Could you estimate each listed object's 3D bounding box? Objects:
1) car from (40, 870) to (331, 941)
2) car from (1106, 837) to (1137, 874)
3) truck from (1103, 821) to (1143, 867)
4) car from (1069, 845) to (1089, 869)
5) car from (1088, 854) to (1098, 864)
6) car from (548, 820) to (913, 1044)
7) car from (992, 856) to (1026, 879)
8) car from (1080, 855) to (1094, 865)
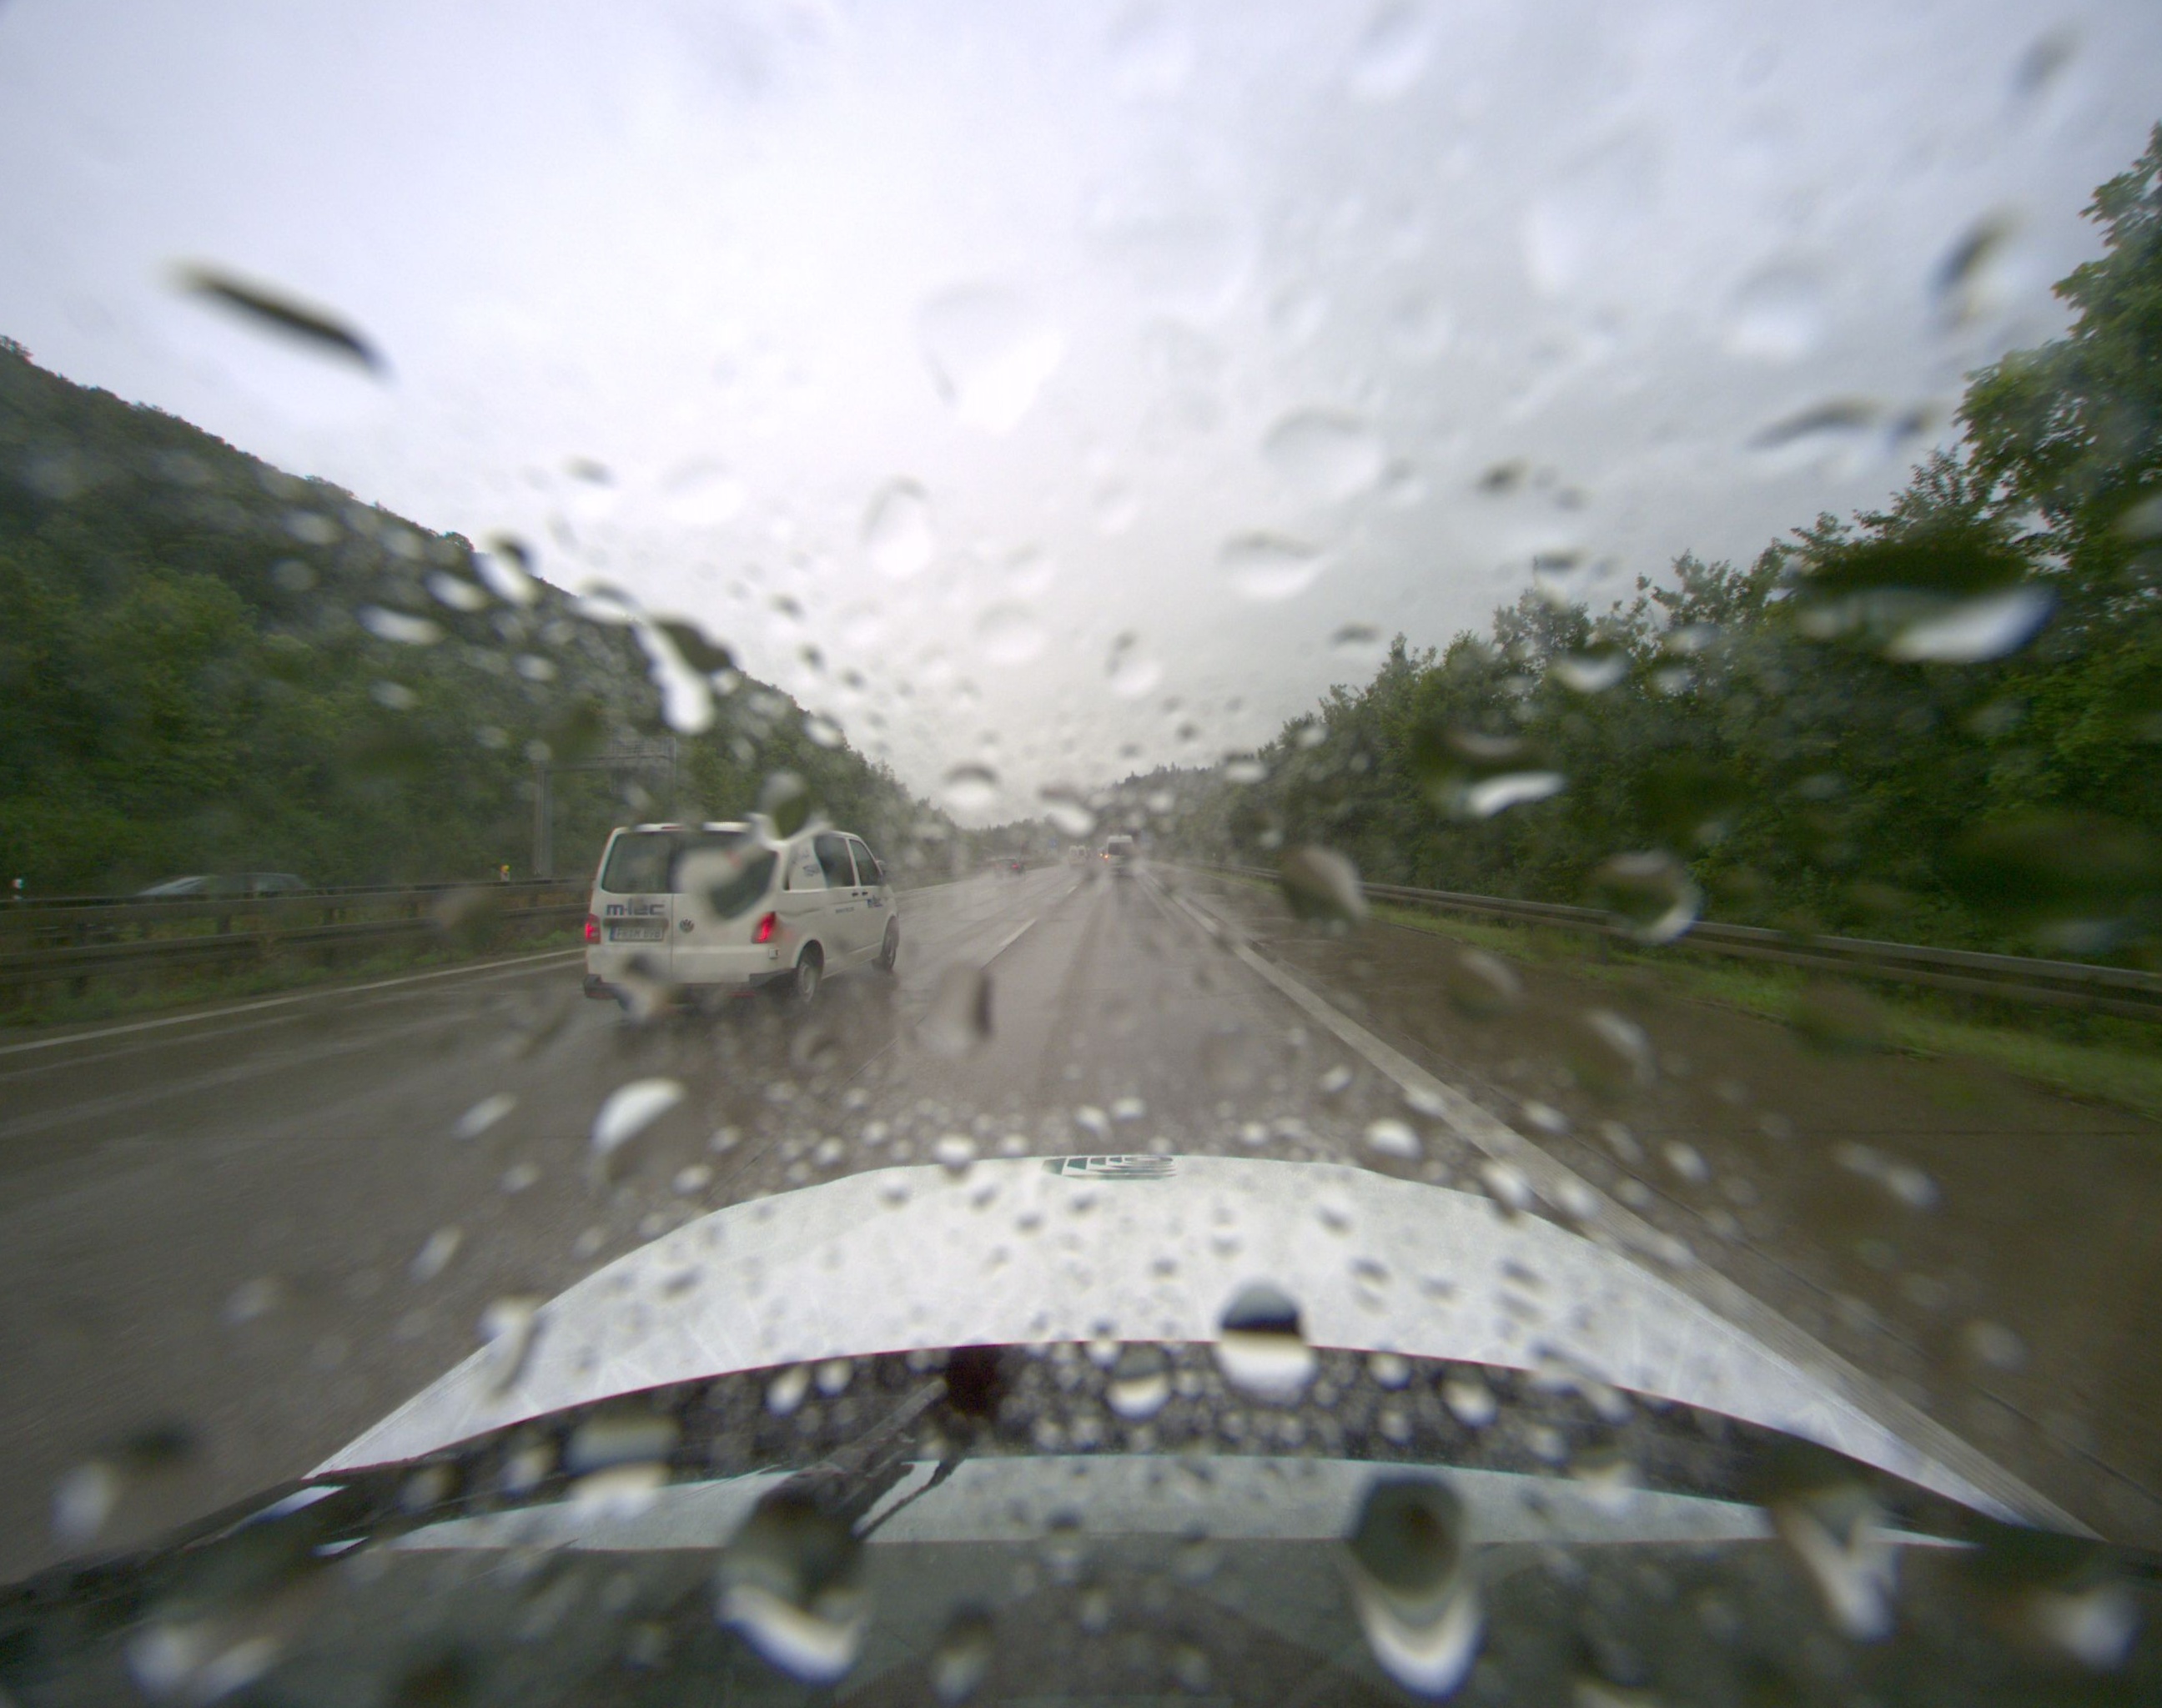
[{"bbox_3d":[-20.064,1.080,18.591,1.746,1.303,4.345,1,0,1],"label":"car"},{"bbox_3d":[2.645,0.076,54.205,1.893,2.334,5.251,1,0,1],"label":"car"},{"bbox_3d":[3.879,-1.024,76.503,3.372,3.967,8.671,-3,2,2],"label":"truck"},{"bbox_3d":[-0.189,0.327,86.460,1.991,2.432,5.791,1,0,1],"label":"car"},{"bbox_3d":[2.285,0.989,154.103,1.862,1.810,4.189,1,0,1],"label":"car"},{"bbox_3d":[-3.548,0.671,9.543,1.892,1.894,5.045,-1,0,2],"label":"car"},{"bbox_3d":[-4.689,0.877,53.503,1.735,1.388,4.321,-1,0,1],"label":"car"},{"bbox_3d":[0.834,0.827,113.076,1.851,1.339,4.349,1,0,-1],"label":"car"}]
